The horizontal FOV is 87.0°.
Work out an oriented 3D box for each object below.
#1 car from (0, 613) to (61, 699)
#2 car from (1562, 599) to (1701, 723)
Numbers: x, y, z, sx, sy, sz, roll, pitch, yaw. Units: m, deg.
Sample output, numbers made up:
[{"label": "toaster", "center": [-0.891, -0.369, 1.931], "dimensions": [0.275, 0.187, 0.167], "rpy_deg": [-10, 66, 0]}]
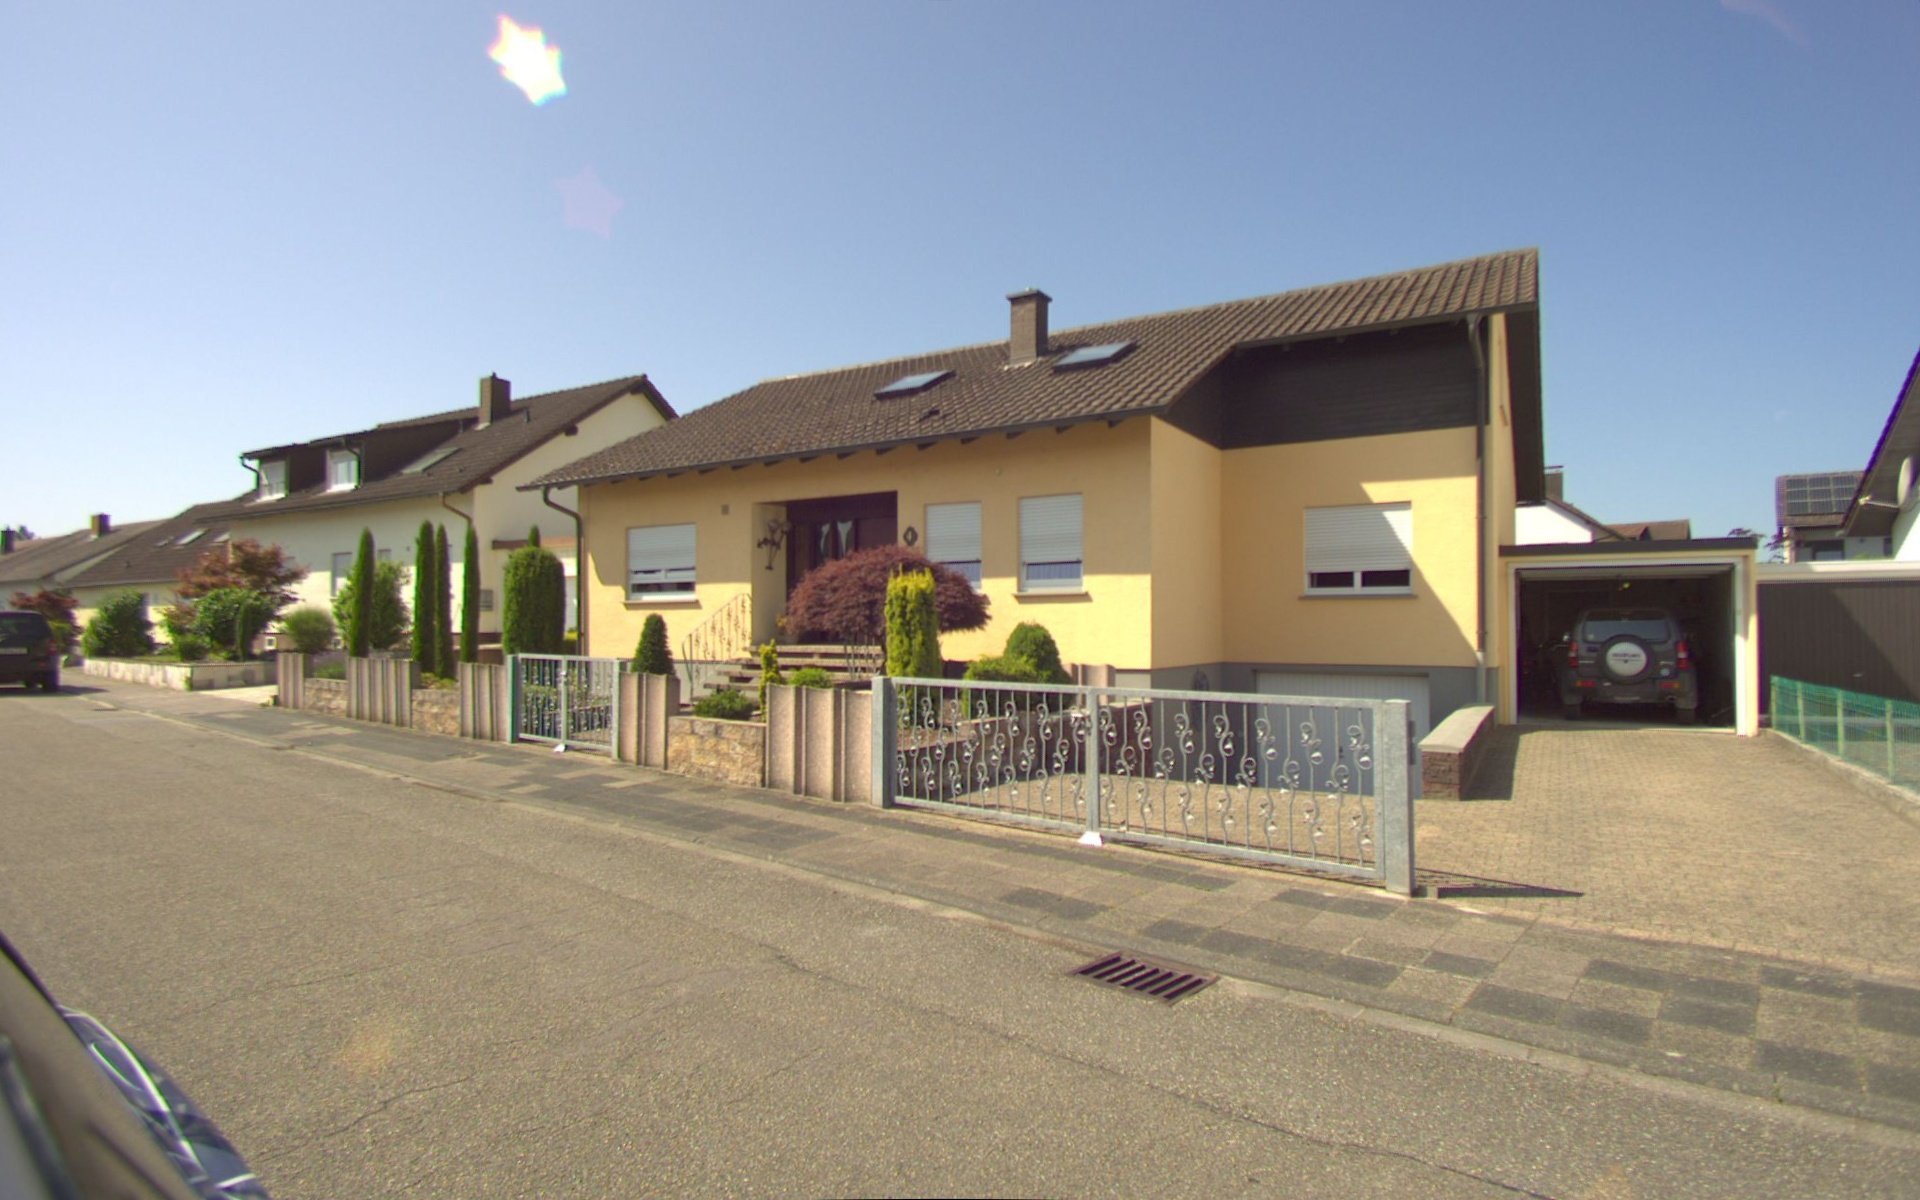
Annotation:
[{"label": "car", "center": [-21.356, 1.202, 22.344], "dimensions": [3.650, 1.791, 1.746], "rpy_deg": [-2, -2, 41]}, {"label": "car", "center": [10.089, 0.881, 15.247], "dimensions": [1.544, 1.623, 3.659], "rpy_deg": [-1, -3, 34]}]
